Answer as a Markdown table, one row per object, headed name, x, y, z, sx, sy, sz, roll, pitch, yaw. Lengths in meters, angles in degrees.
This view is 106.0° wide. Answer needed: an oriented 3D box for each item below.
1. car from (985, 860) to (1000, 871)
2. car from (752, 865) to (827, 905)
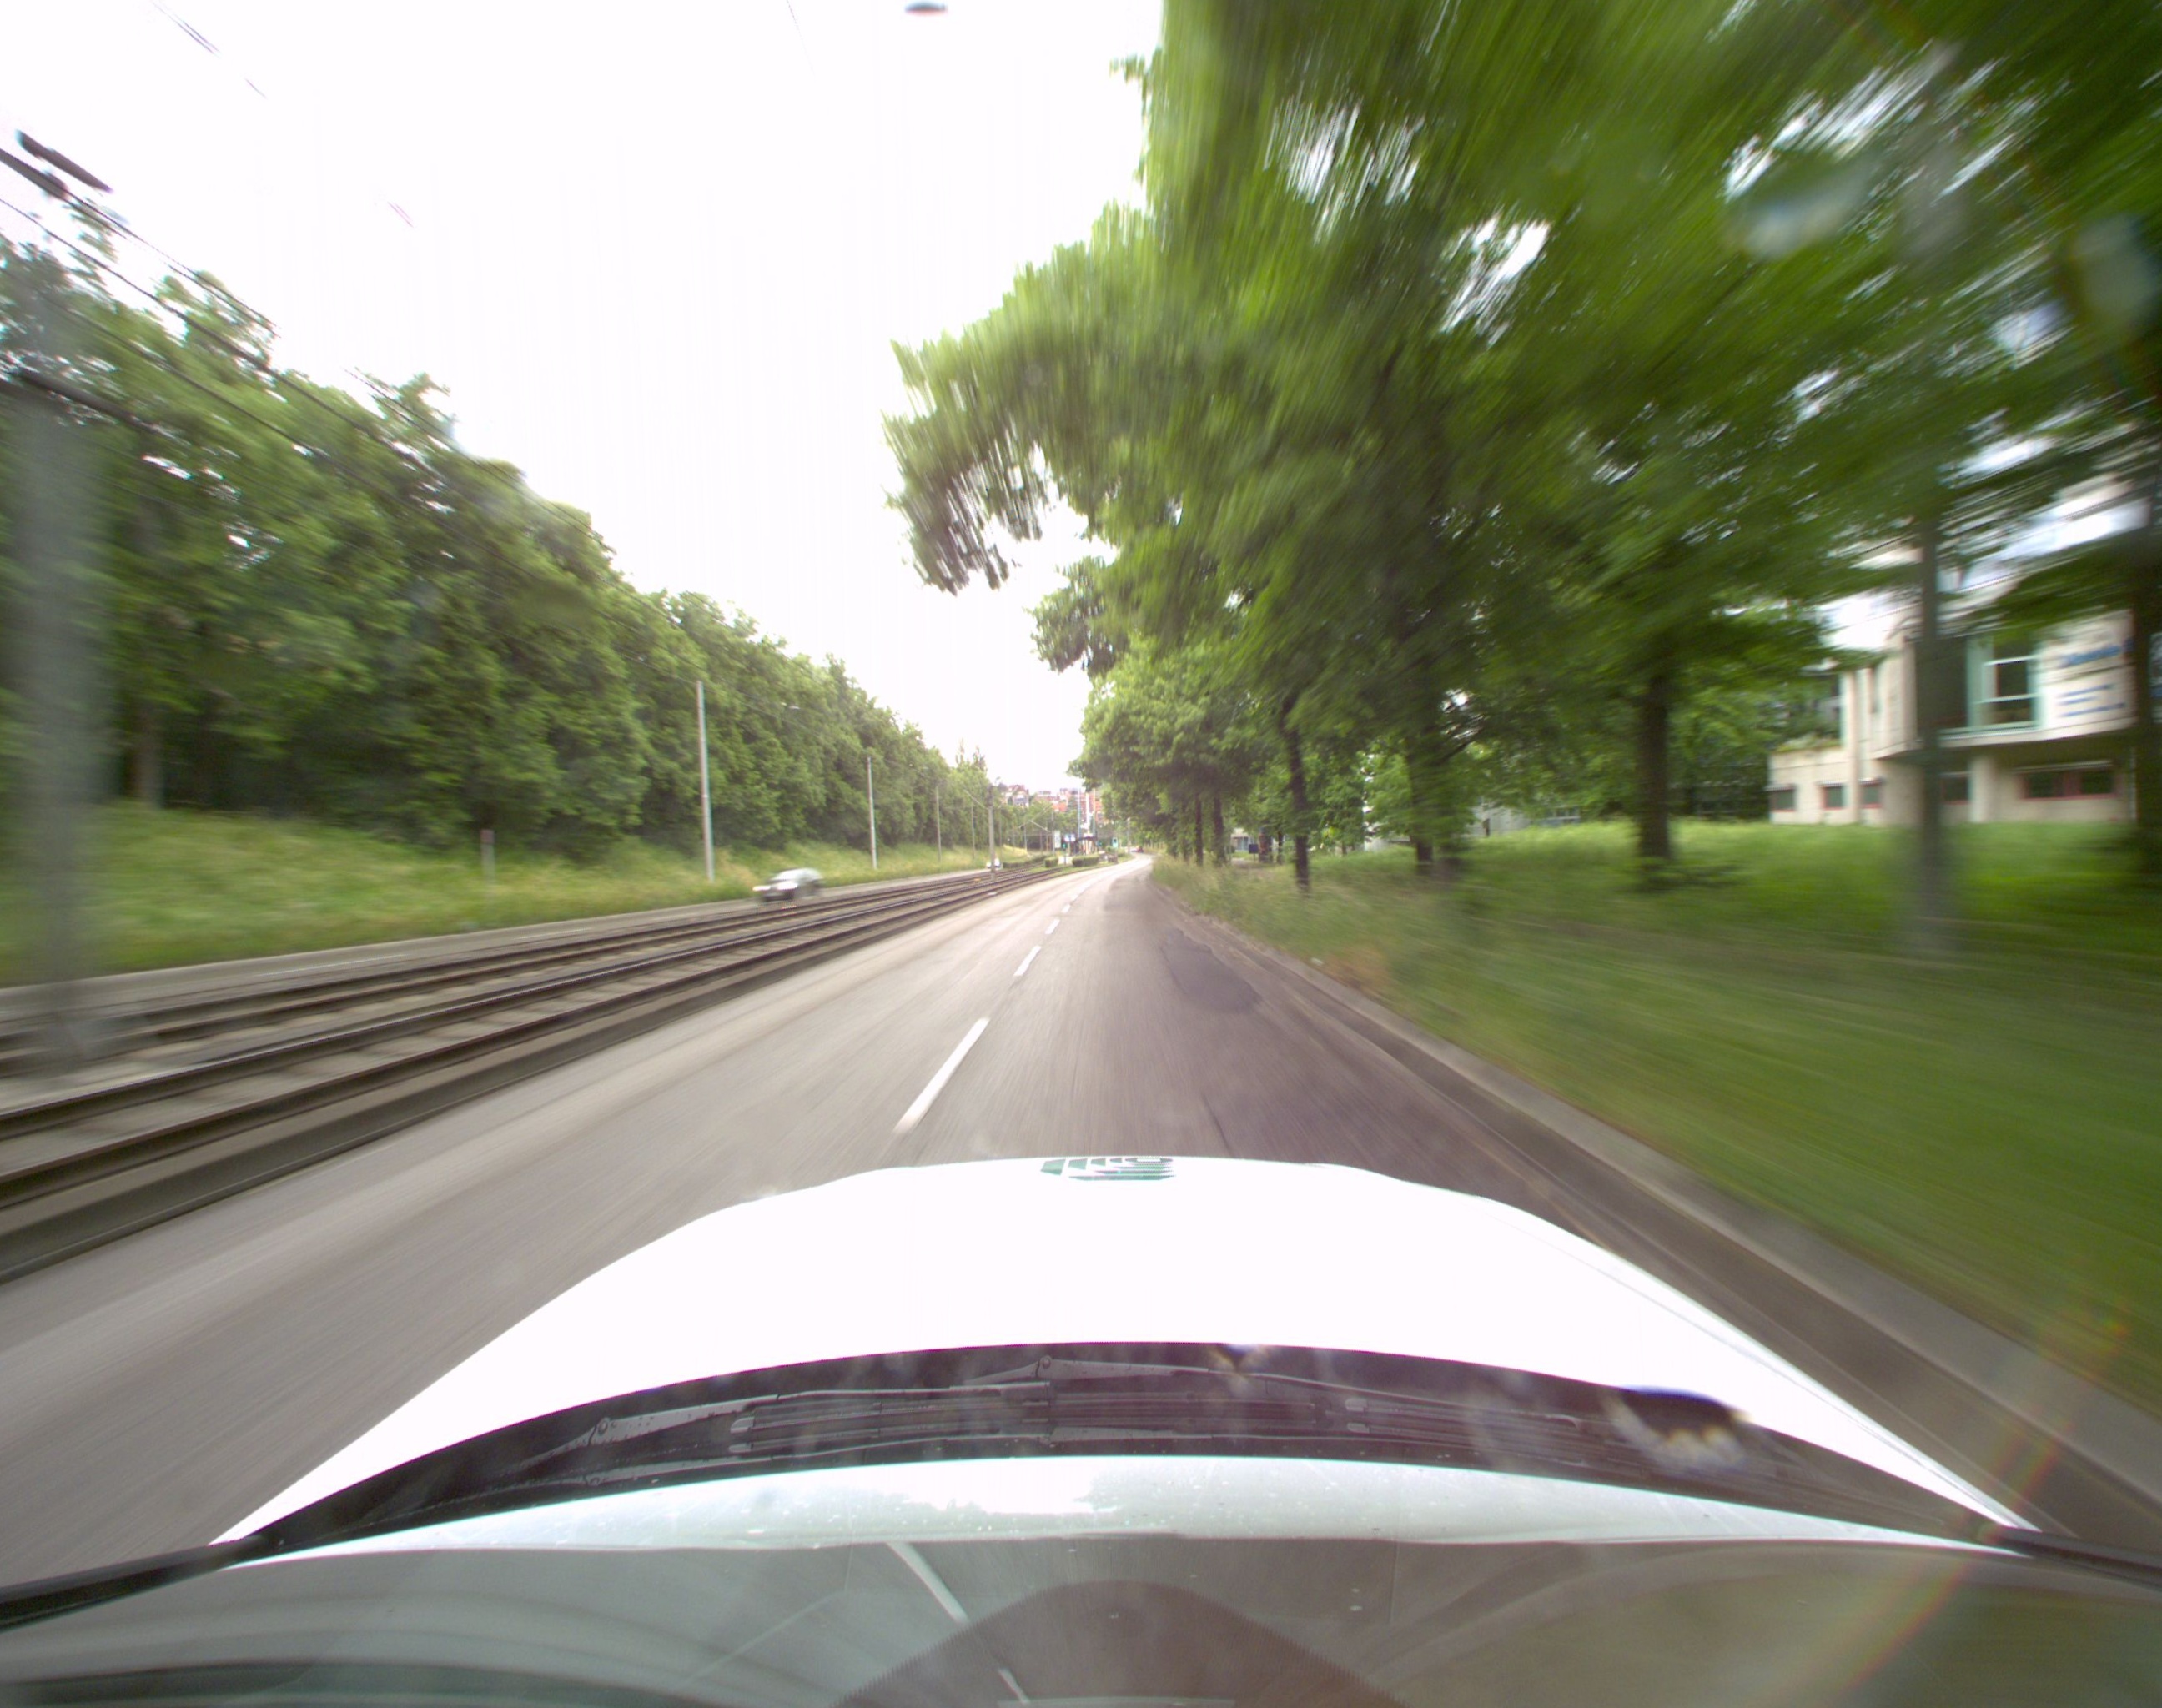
| name | x | y | z | sx | sy | sz | roll | pitch | yaw |
| --- | --- | --- | --- | --- | --- | --- | --- | --- | --- |
| car | -13.877 | 1.770 | 127.814 | 1.779 | 1.552 | 3.960 | -3 | 0 | -1 |
| car | -12.546 | 1.299 | 35.295 | 1.664 | 1.443 | 4.027 | -4 | 0 | 1 |
